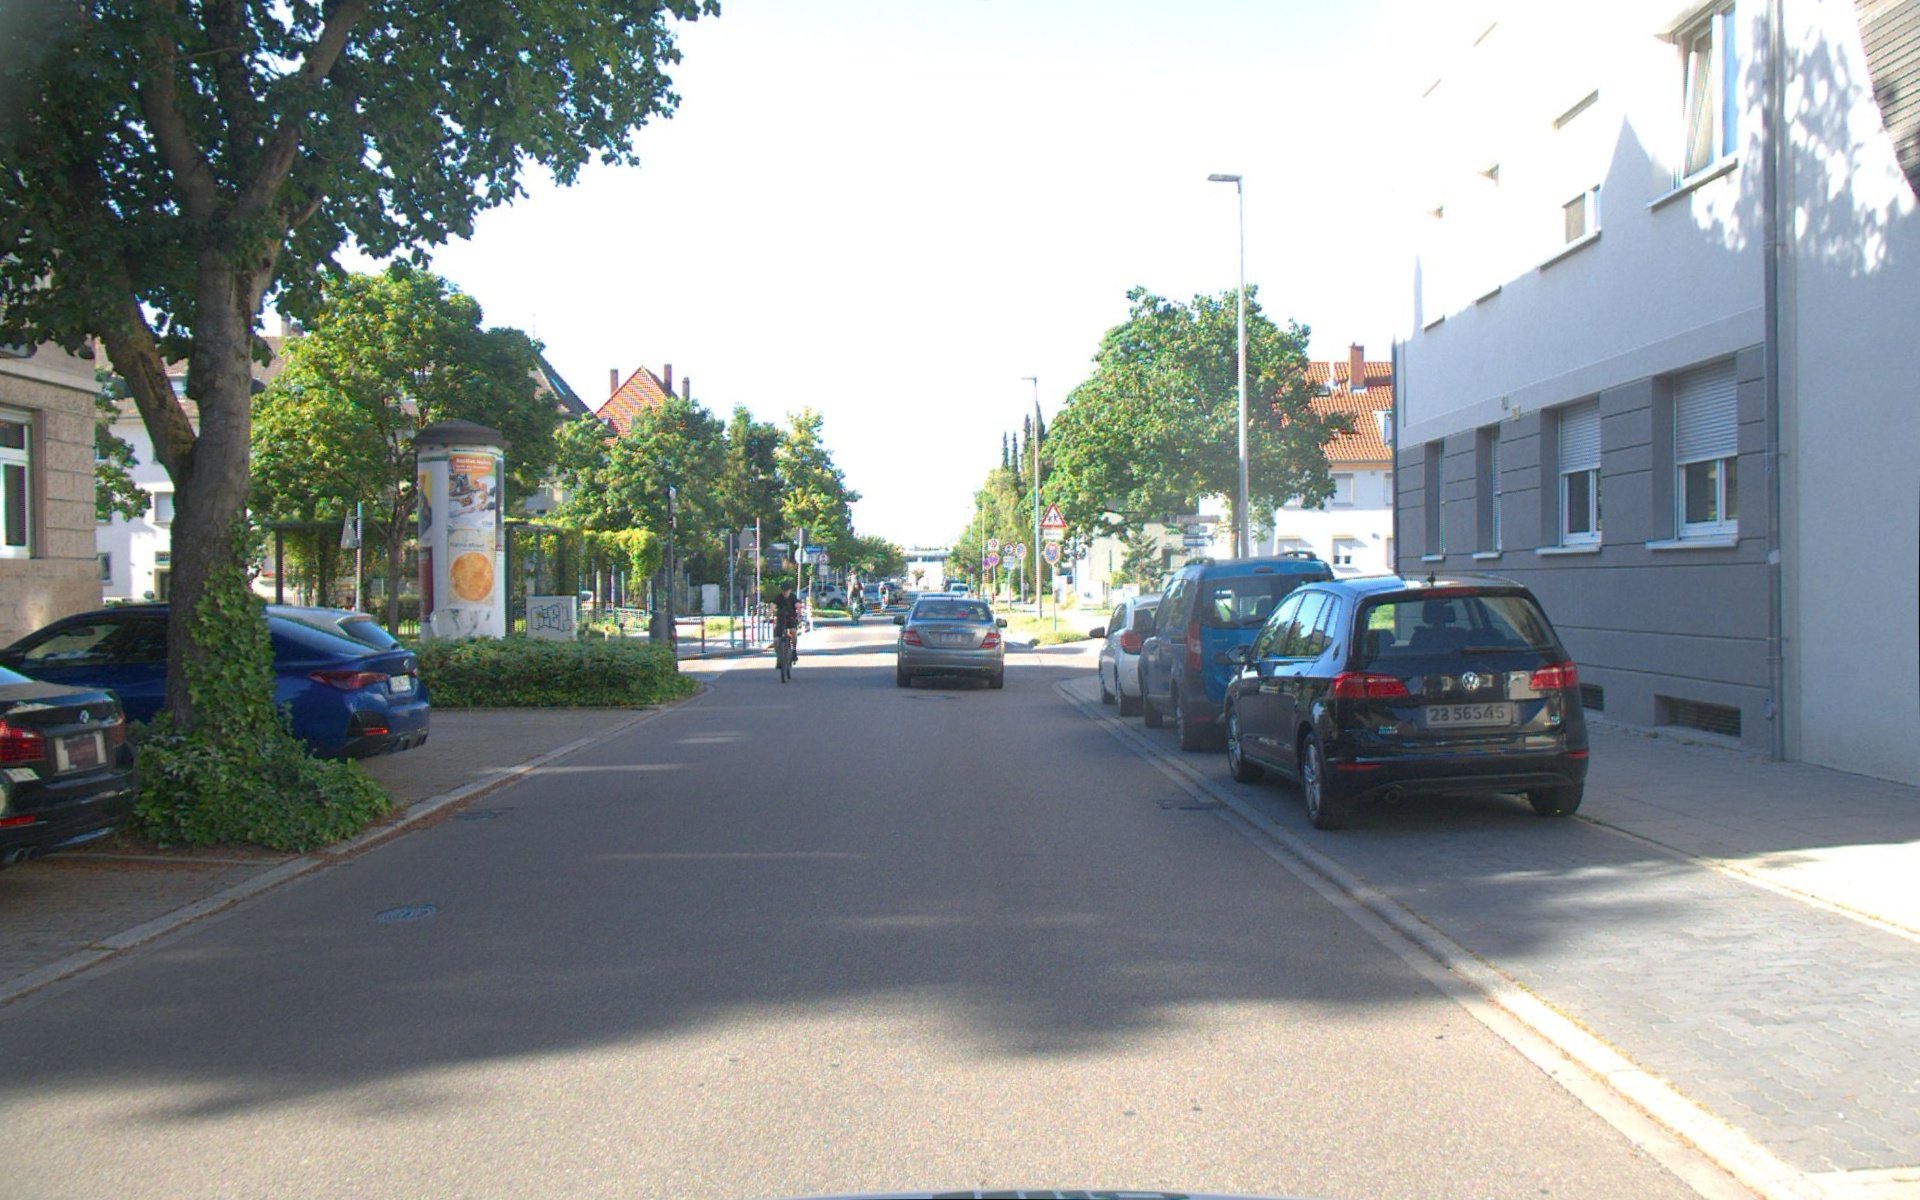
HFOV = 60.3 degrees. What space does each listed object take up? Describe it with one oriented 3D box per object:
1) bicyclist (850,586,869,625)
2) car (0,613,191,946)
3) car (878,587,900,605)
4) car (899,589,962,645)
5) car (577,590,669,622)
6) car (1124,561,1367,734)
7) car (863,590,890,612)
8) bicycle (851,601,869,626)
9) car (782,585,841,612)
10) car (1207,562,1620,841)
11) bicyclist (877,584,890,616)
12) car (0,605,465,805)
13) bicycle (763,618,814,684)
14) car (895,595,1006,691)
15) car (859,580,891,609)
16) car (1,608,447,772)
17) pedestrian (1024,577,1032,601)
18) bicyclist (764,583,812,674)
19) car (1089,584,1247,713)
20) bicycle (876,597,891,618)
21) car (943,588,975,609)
[{"bbox_3d":[-3.986,0.225,65.640,0.666,1.535,0.655,-1,0,0],"label":"bicyclist"},{"bbox_3d":[-6.511,0.812,8.307,4.384,1.505,1.867,0,-1,-3],"label":"car"},{"bbox_3d":[-6.336,-0.402,147.213,1.752,1.559,3.996,-1,1,-5],"label":"car"},{"bbox_3d":[-0.850,0.485,46.626,1.672,1.473,4.201,1,-1,-2],"label":"car"},{"bbox_3d":[-15.574,0.302,76.626,3.908,1.400,1.998,1,-1,-4],"label":"car"},{"bbox_3d":[2.842,0.465,17.393,1.648,1.460,4.264,-5,-1,-1],"label":"car"},{"bbox_3d":[-6.181,0.062,122.175,1.752,1.559,3.995,0,0,-5],"label":"car"},{"bbox_3d":[-3.982,0.543,65.639,0.577,0.948,1.850,-1,1,0],"label":"bicycle"},{"bbox_3d":[-8.885,-0.091,98.793,3.428,1.560,1.642,0,0,-8],"label":"car"},{"bbox_3d":[3.017,0.584,11.949,1.702,1.558,4.178,-3,0,-1],"label":"car"},{"bbox_3d":[-3.680,-0.012,79.555,0.560,1.535,0.655,-1,0,0],"label":"bicyclist"},{"bbox_3d":[-6.484,0.802,13.398,4.384,1.505,1.867,0,-1,-3],"label":"car"},{"bbox_3d":[-3.042,0.888,29.456,0.705,1.098,1.890,-1,0,-1],"label":"bicycle"},{"bbox_3d":[-0.146,0.691,27.660,1.691,1.445,3.960,1,-1,0],"label":"car"},{"bbox_3d":[-5.363,-0.348,104.183,1.836,1.758,3.996,-1,1,-5],"label":"car"},{"bbox_3d":[-6.956,0.820,15.905,3.507,1.455,1.730,0,0,-2],"label":"car"},{"bbox_3d":[4.601,-0.719,111.898,0.499,1.586,0.643,1,-1,0],"label":"pedestrian"},{"bbox_3d":[-3.063,0.490,29.489,0.706,1.563,1.137,-1,0,-1],"label":"bicyclist"},{"bbox_3d":[2.685,0.615,22.047,1.532,1.435,3.729,-5,-1,0],"label":"car"},{"bbox_3d":[-3.680,0.344,79.520,0.577,0.948,1.850,-1,1,0],"label":"bicycle"},{"bbox_3d":[-0.070,-0.100,106.612,1.689,1.353,3.995,0,0,-5],"label":"car"}]
